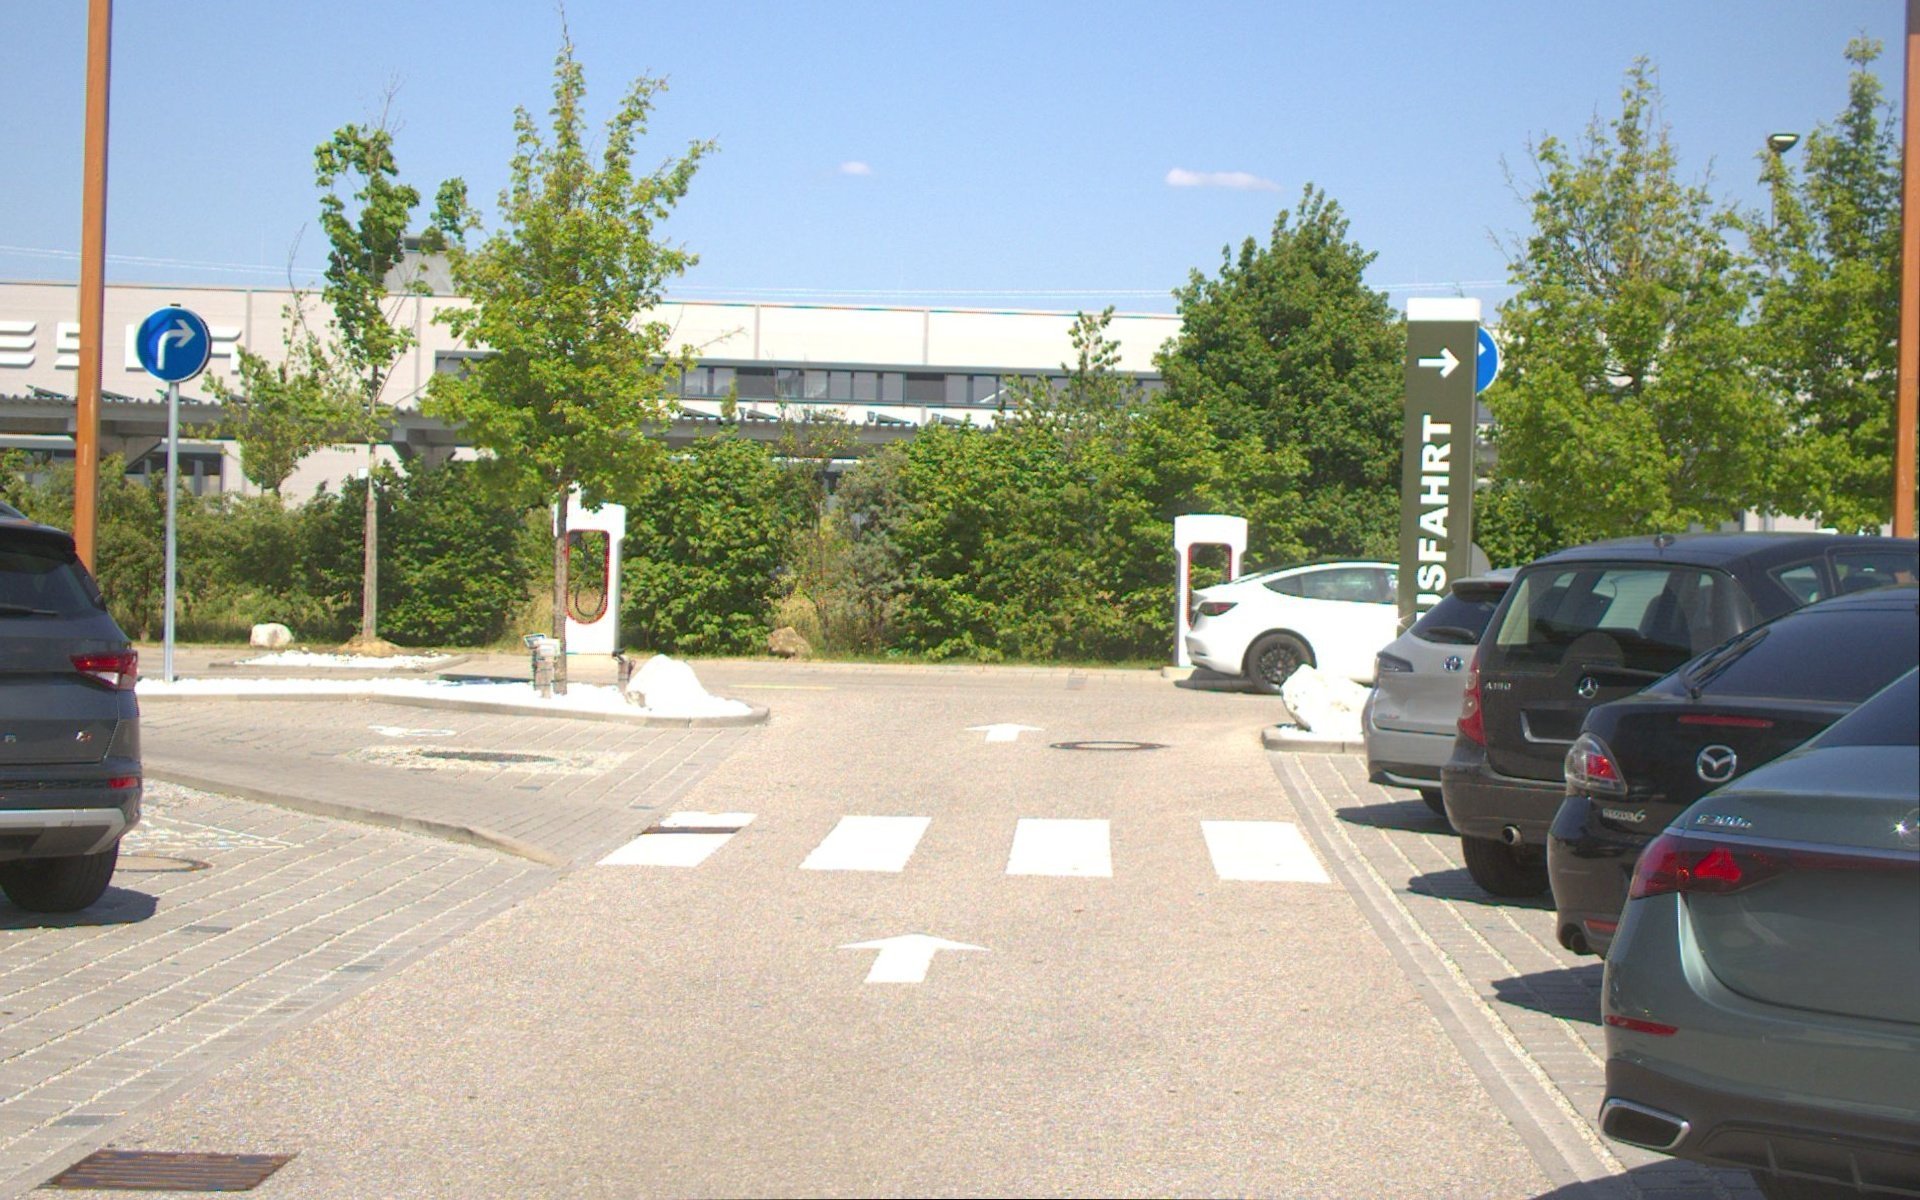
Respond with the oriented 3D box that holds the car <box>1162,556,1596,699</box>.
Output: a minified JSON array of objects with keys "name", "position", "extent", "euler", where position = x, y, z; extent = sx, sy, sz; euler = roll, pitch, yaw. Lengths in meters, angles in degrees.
[{"name":"car","position":[4.416,0.267,36.563],"extent":[4.435,1.373,1.822],"euler":[1,1,6]}]

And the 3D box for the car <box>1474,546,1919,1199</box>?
[{"name":"car","position":[3.365,0.681,7.720],"extent":[4.529,1.506,1.886],"euler":[0,1,-42]}]

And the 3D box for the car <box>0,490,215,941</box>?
[{"name":"car","position":[-4.868,0.354,13.673],"extent":[1.786,1.597,4.225],"euler":[0,1,-43]}]

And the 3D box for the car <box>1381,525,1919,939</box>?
[{"name":"car","position":[3.856,0.508,15.405],"extent":[1.811,1.588,3.989],"euler":[2,1,45]}]

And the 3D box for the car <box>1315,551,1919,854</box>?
[{"name":"car","position":[4.253,0.473,18.887],"extent":[4.649,1.442,1.835],"euler":[-1,2,-40]}]

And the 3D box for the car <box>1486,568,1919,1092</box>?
[{"name":"car","position":[3.834,0.657,11.512],"extent":[4.064,1.444,1.828],"euler":[0,1,-40]}]
